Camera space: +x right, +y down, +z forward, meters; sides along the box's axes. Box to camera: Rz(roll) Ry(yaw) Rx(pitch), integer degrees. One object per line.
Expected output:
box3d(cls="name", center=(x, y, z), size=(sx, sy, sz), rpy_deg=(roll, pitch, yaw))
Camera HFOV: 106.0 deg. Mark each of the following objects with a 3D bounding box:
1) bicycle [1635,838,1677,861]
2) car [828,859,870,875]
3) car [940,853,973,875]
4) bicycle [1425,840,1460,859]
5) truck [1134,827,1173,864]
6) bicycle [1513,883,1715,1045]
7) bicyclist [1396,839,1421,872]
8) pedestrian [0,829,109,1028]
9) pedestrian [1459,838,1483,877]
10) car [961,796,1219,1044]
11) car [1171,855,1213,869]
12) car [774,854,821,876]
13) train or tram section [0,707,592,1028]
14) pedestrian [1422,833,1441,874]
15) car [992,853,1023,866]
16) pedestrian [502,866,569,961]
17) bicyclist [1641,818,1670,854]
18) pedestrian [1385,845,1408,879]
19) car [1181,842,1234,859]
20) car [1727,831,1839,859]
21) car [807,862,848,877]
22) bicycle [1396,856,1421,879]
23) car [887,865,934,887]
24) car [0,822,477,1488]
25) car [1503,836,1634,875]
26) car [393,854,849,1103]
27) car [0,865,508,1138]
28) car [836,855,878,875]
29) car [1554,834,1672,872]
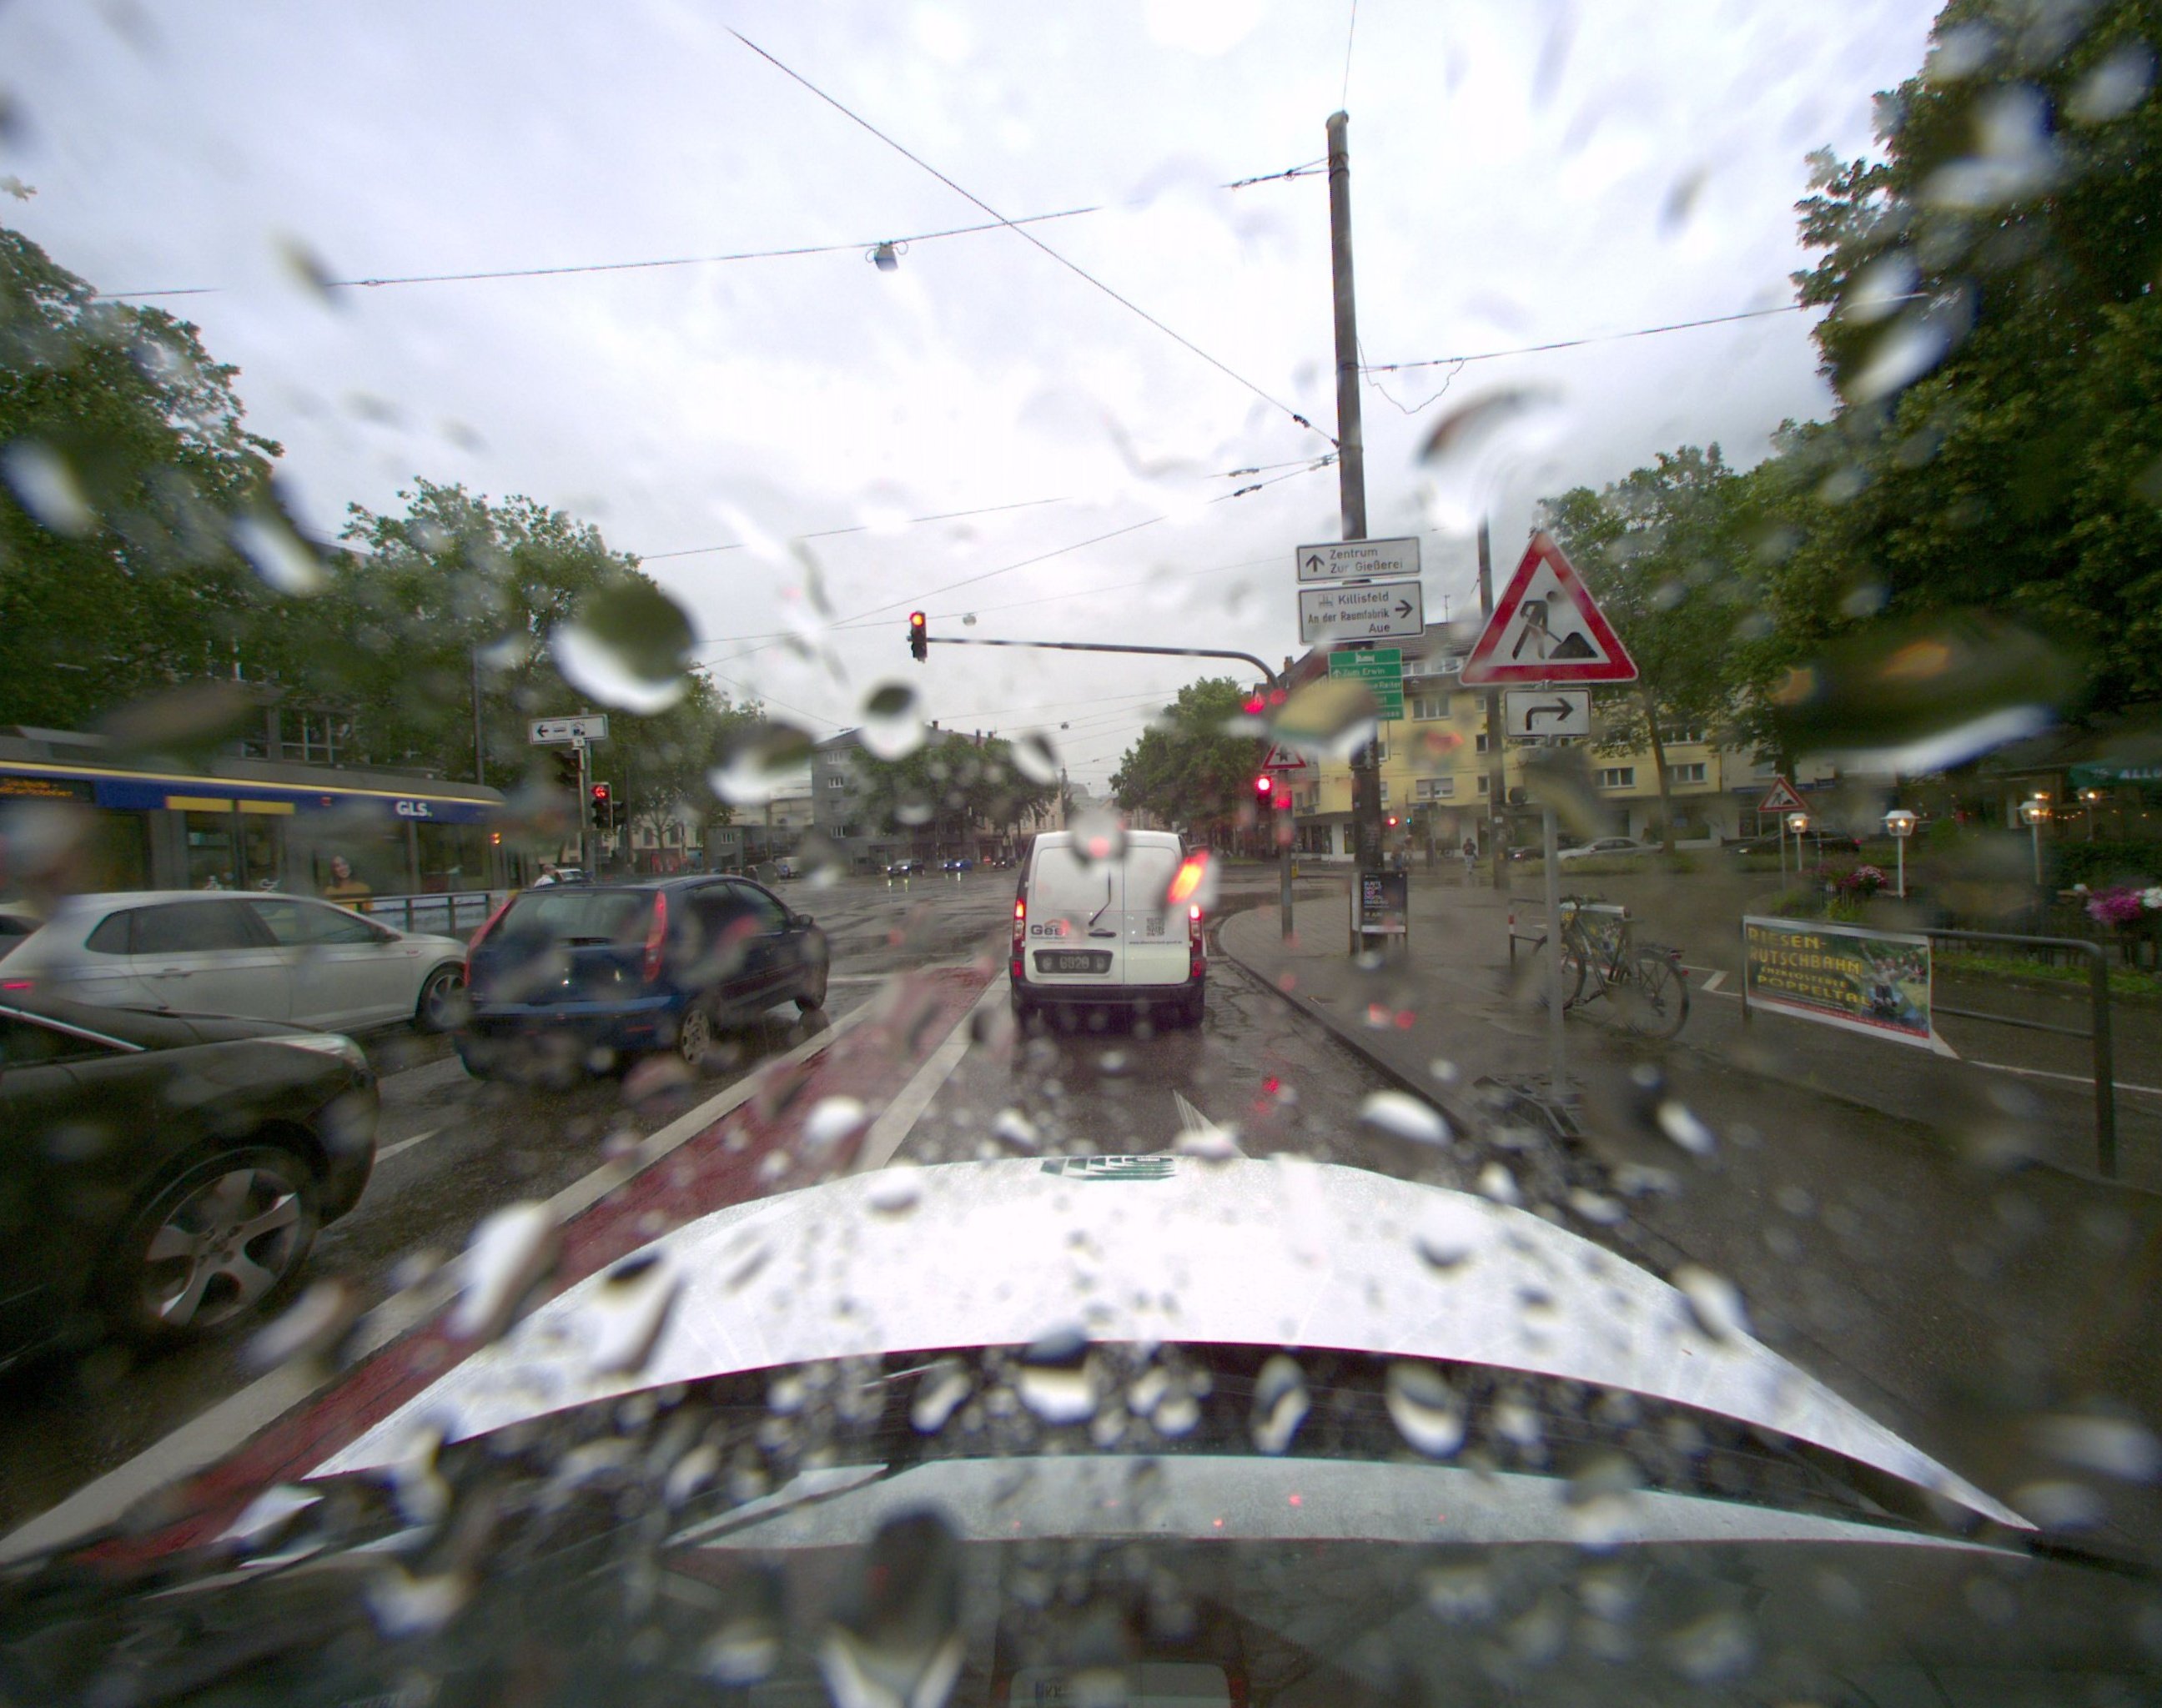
box3d(cls="bicycle", center=(26.621, -0.207, 37.728), size=(1.631, 1.002, 0.422), rpy_deg=(-1, 0, 2))
box3d(cls="car", center=(-24.933, 1.405, 87.614), size=(1.975, 1.530, 4.025), rpy_deg=(-1, 1, 29))
box3d(cls="car", center=(-12.177, 0.973, 80.099), size=(1.981, 2.013, 4.011), rpy_deg=(-1, 0, 10))
box3d(cls="bicycle", center=(24.326, -0.297, 54.854), size=(2.085, 1.261, 0.534), rpy_deg=(-1, 1, 16))
box3d(cls="truck", center=(10.983, -1.216, 121.360), size=(3.445, 5.087, 15.362), rpy_deg=(-1, 0, 13))
box3d(cls="bicycle", center=(4.483, 0.848, 7.043), size=(0.512, 1.107, 2.018), rpy_deg=(1, 0, 3))
box3d(cls="bicyclist", center=(16.112, 0.085, 40.104), size=(0.875, 1.583, 0.860), rpy_deg=(-1, 0, 0))
box3d(cls="pedestrian", center=(-9.920, 0.676, 7.481), size=(0.763, 1.746, 0.899), rpy_deg=(-4, 1, 1))
box3d(cls="pedestrian", center=(17.046, 0.145, 35.551), size=(0.896, 1.669, 1.026), rpy_deg=(-1, 0, 27))
box3d(cls="car", center=(0.152, 0.567, 9.256), size=(2.092, 2.012, 4.965), rpy_deg=(-2, -1, 2))
box3d(cls="car", center=(9.626, 0.667, 70.767), size=(3.437, 1.130, 1.468), rpy_deg=(-1, 0, -6))
box3d(cls="car", center=(-30.761, 1.148, 88.412), size=(1.975, 2.198, 4.816), rpy_deg=(0, 2, 25))
box3d(cls="train or tram section", center=(-13.184, 0.156, 10.843), size=(3.527, 3.413, 15.511), rpy_deg=(0, 0, 2))
box3d(cls="pedestrian", center=(17.617, -0.019, 40.883), size=(0.787, 2.014, 0.865), rpy_deg=(-1, -1, 27))
box3d(cls="car", center=(-8.174, 0.572, 91.300), size=(1.935, 1.239, 4.020), rpy_deg=(-1, 1, 19))
box3d(cls="pedestrian", center=(-9.499, 1.021, 14.203), size=(0.621, 1.607, 0.744), rpy_deg=(-1, 0, 9))
box3d(cls="bicyclist", center=(26.613, -0.838, 37.731), size=(0.810, 1.615, 0.711), rpy_deg=(-1, 0, 2))
box3d(cls="pedestrian", center=(14.514, 0.354, 37.509), size=(0.820, 1.534, 0.616), rpy_deg=(-1, -1, -37))
box3d(cls="car", center=(10.668, -0.320, 68.873), size=(4.160, 1.339, 1.518), rpy_deg=(-2, 1, -6))
box3d(cls="car", center=(29.276, -0.347, 34.030), size=(3.511, 1.082, 1.248), rpy_deg=(-1, 0, 4))
box3d(cls="car", center=(-27.527, 1.665, 88.484), size=(1.935, 1.496, 4.025), rpy_deg=(-1, 1, 29))
box3d(cls="bicycle", center=(16.130, 0.650, 40.165), size=(0.457, 1.027, 1.901), rpy_deg=(-2, 1, 0))
box3d(cls="car", center=(-14.025, 1.788, 67.069), size=(1.935, 1.607, 4.020), rpy_deg=(-1, 1, 19))
box3d(cls="car", center=(-3.651, 0.767, 1.515), size=(1.827, 1.668, 4.174), rpy_deg=(-1, 0, 2))
box3d(cls="car", center=(22.853, 0.111, 38.369), size=(4.902, 1.643, 2.007), rpy_deg=(-1, -3, 14))
box3d(cls="car", center=(-3.517, 0.807, 7.164), size=(1.720, 1.578, 3.822), rpy_deg=(-1, 0, 2))
box3d(cls="car", center=(-6.781, 0.871, 6.500), size=(1.623, 1.494, 3.783), rpy_deg=(-1, 0, 2))
box3d(cls="car", center=(-23.427, 1.178, 85.451), size=(1.975, 2.013, 4.025), rpy_deg=(-1, 0, 29))
box3d(cls="car", center=(22.896, -0.052, 35.207), size=(3.906, 1.490, 1.815), rpy_deg=(-1, 1, 17))
